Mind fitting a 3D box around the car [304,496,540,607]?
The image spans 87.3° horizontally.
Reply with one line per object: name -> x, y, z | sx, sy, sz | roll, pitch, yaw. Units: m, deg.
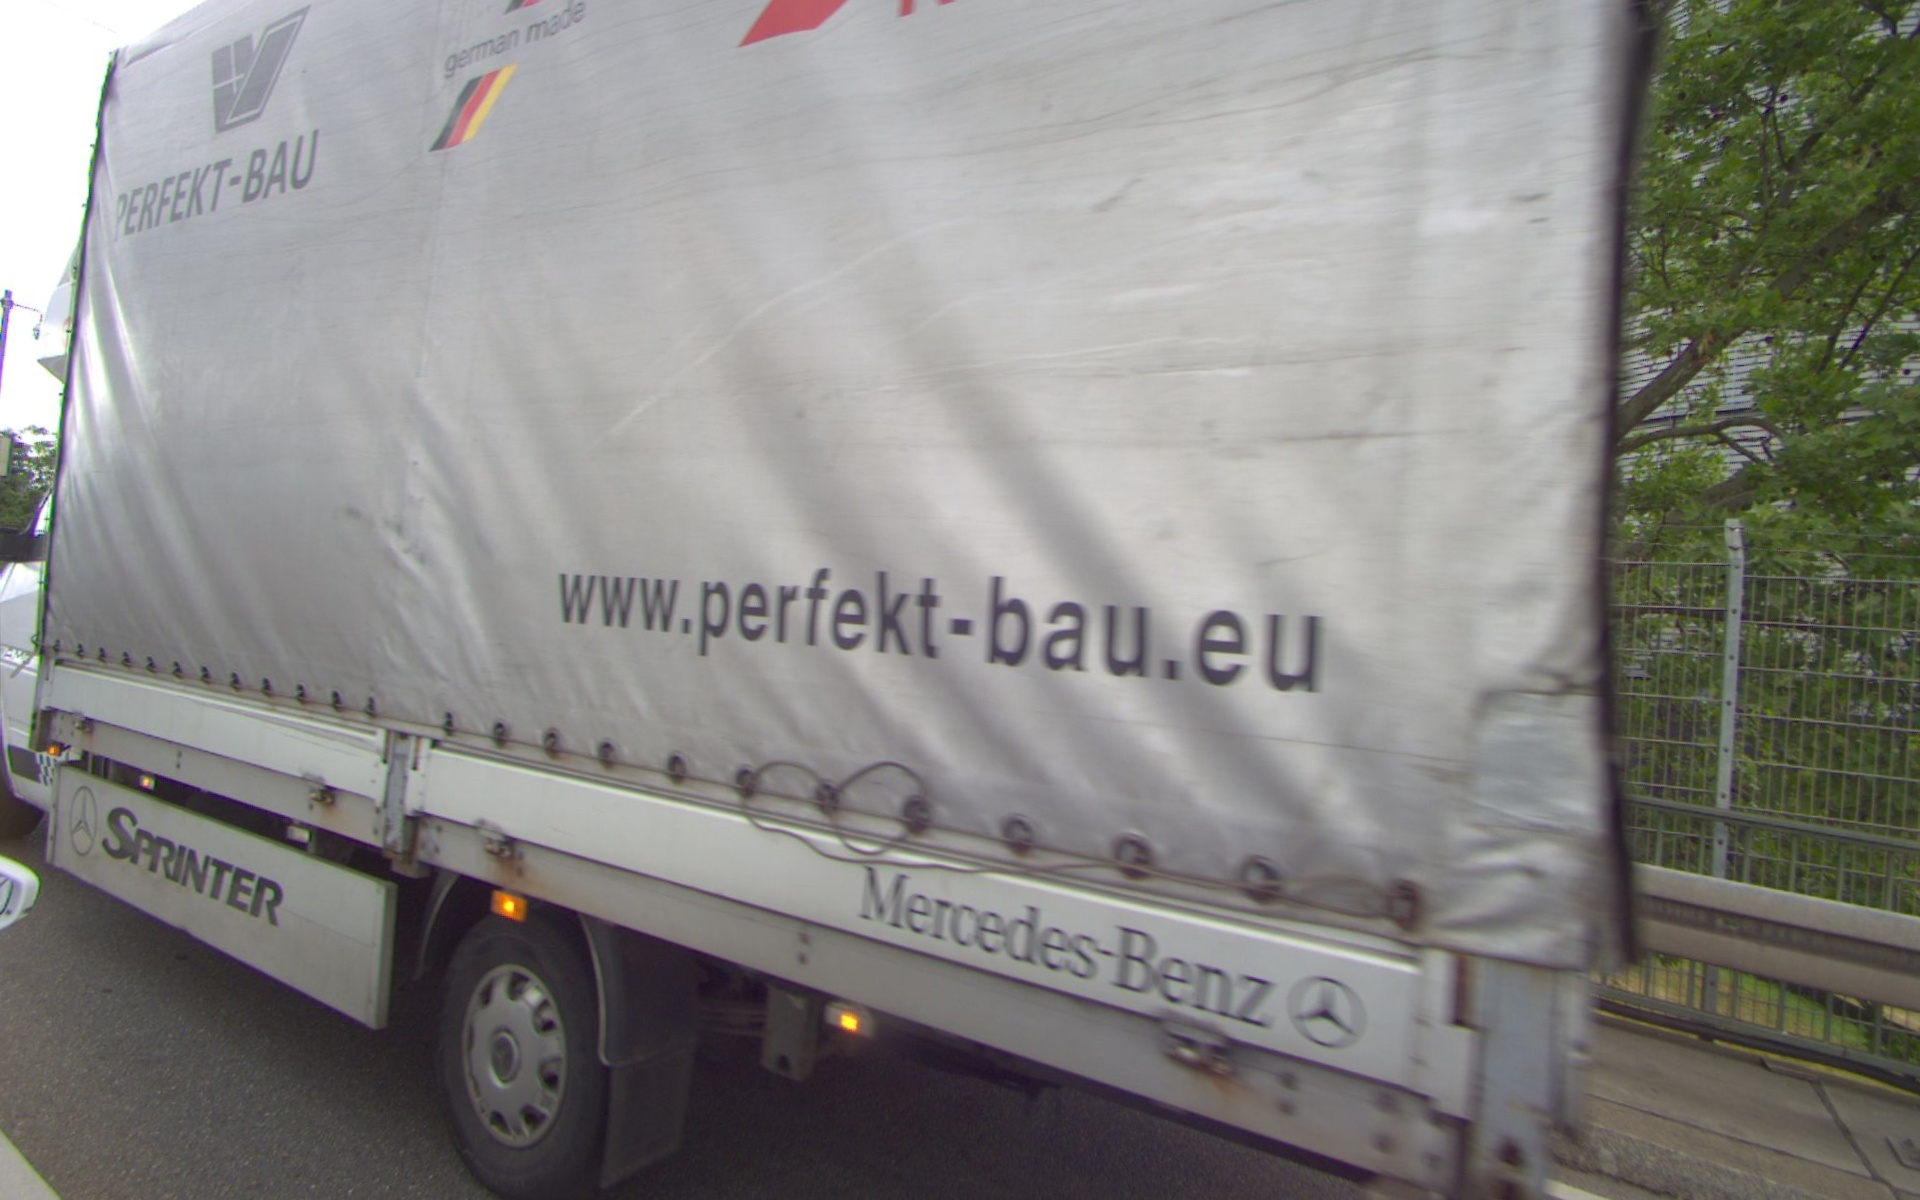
car -> -15.546, -1.374, 29.710 | 2.077, 2.822, 6.771 | 3, 2, 15

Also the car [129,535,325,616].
car -> -20.509, -0.647, 28.287 | 1.785, 1.684, 3.989 | 7, -1, 36

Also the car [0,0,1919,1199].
car -> -1.054, -0.089, 3.532 | 6.974, 3.369, 2.663 | 6, -1, 32

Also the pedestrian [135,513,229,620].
pedestrian -> -13.245, -0.564, 17.131 | 0.963, 1.698, 0.834 | 4, -2, 29

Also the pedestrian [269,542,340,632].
pedestrian -> -12.746, -0.245, 19.575 | 0.771, 1.639, 0.676 | 7, 0, -6
